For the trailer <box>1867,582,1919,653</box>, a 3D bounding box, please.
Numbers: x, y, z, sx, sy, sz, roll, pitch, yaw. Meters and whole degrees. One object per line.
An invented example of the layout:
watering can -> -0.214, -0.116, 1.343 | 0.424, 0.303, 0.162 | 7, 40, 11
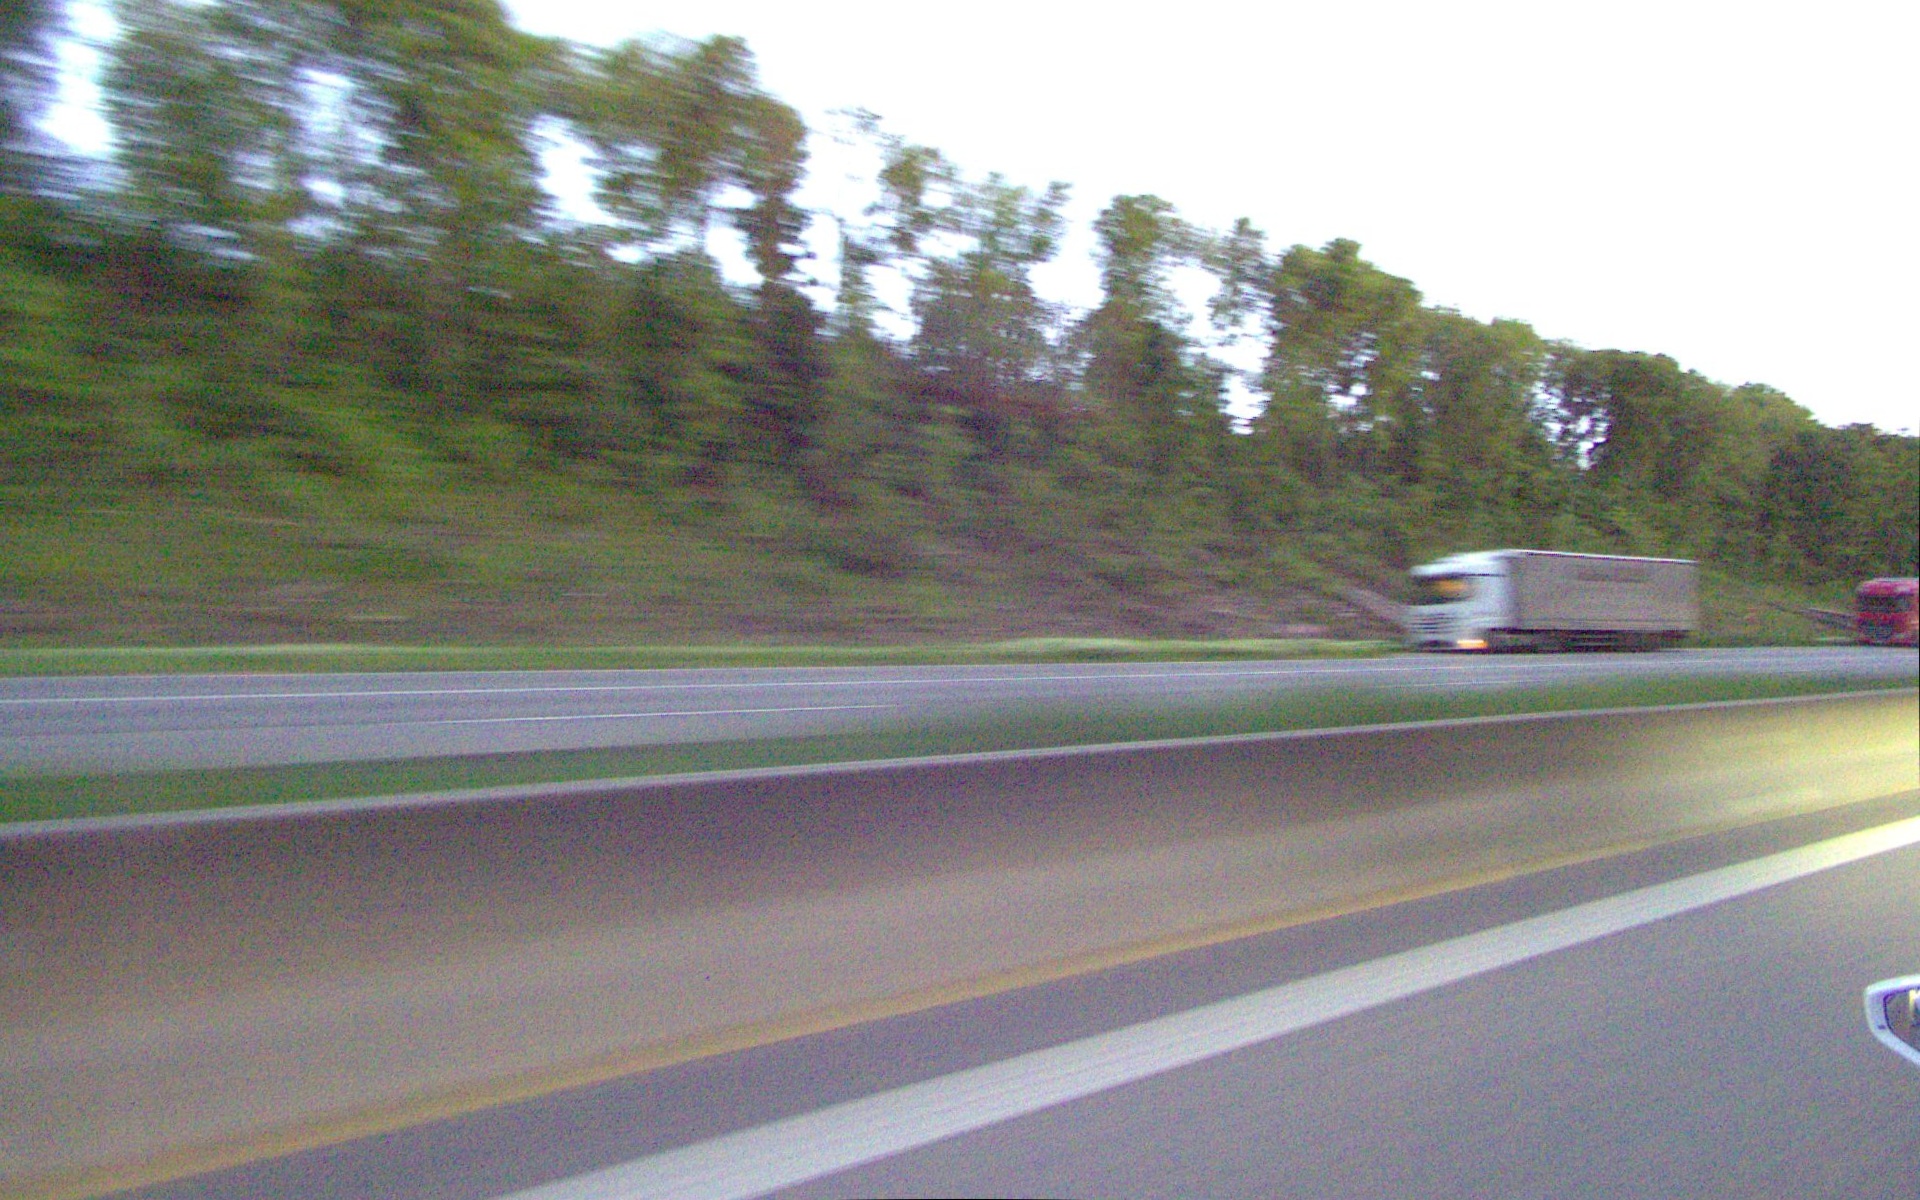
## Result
trailer -> 62.266, 1.198, 63.142 | 14.005, 4.159, 3.178 | 2, 0, -28

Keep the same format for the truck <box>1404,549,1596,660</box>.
truck -> 22.038, 0.267, 40.955 | 7.593, 4.159, 3.178 | 2, 0, -28

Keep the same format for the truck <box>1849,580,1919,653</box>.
truck -> 57.268, 1.021, 60.447 | 7.593, 4.159, 3.178 | 2, 0, -28

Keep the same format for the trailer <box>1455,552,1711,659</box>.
trailer -> 27.453, 0.390, 43.888 | 13.570, 4.159, 3.178 | 2, 0, -29
